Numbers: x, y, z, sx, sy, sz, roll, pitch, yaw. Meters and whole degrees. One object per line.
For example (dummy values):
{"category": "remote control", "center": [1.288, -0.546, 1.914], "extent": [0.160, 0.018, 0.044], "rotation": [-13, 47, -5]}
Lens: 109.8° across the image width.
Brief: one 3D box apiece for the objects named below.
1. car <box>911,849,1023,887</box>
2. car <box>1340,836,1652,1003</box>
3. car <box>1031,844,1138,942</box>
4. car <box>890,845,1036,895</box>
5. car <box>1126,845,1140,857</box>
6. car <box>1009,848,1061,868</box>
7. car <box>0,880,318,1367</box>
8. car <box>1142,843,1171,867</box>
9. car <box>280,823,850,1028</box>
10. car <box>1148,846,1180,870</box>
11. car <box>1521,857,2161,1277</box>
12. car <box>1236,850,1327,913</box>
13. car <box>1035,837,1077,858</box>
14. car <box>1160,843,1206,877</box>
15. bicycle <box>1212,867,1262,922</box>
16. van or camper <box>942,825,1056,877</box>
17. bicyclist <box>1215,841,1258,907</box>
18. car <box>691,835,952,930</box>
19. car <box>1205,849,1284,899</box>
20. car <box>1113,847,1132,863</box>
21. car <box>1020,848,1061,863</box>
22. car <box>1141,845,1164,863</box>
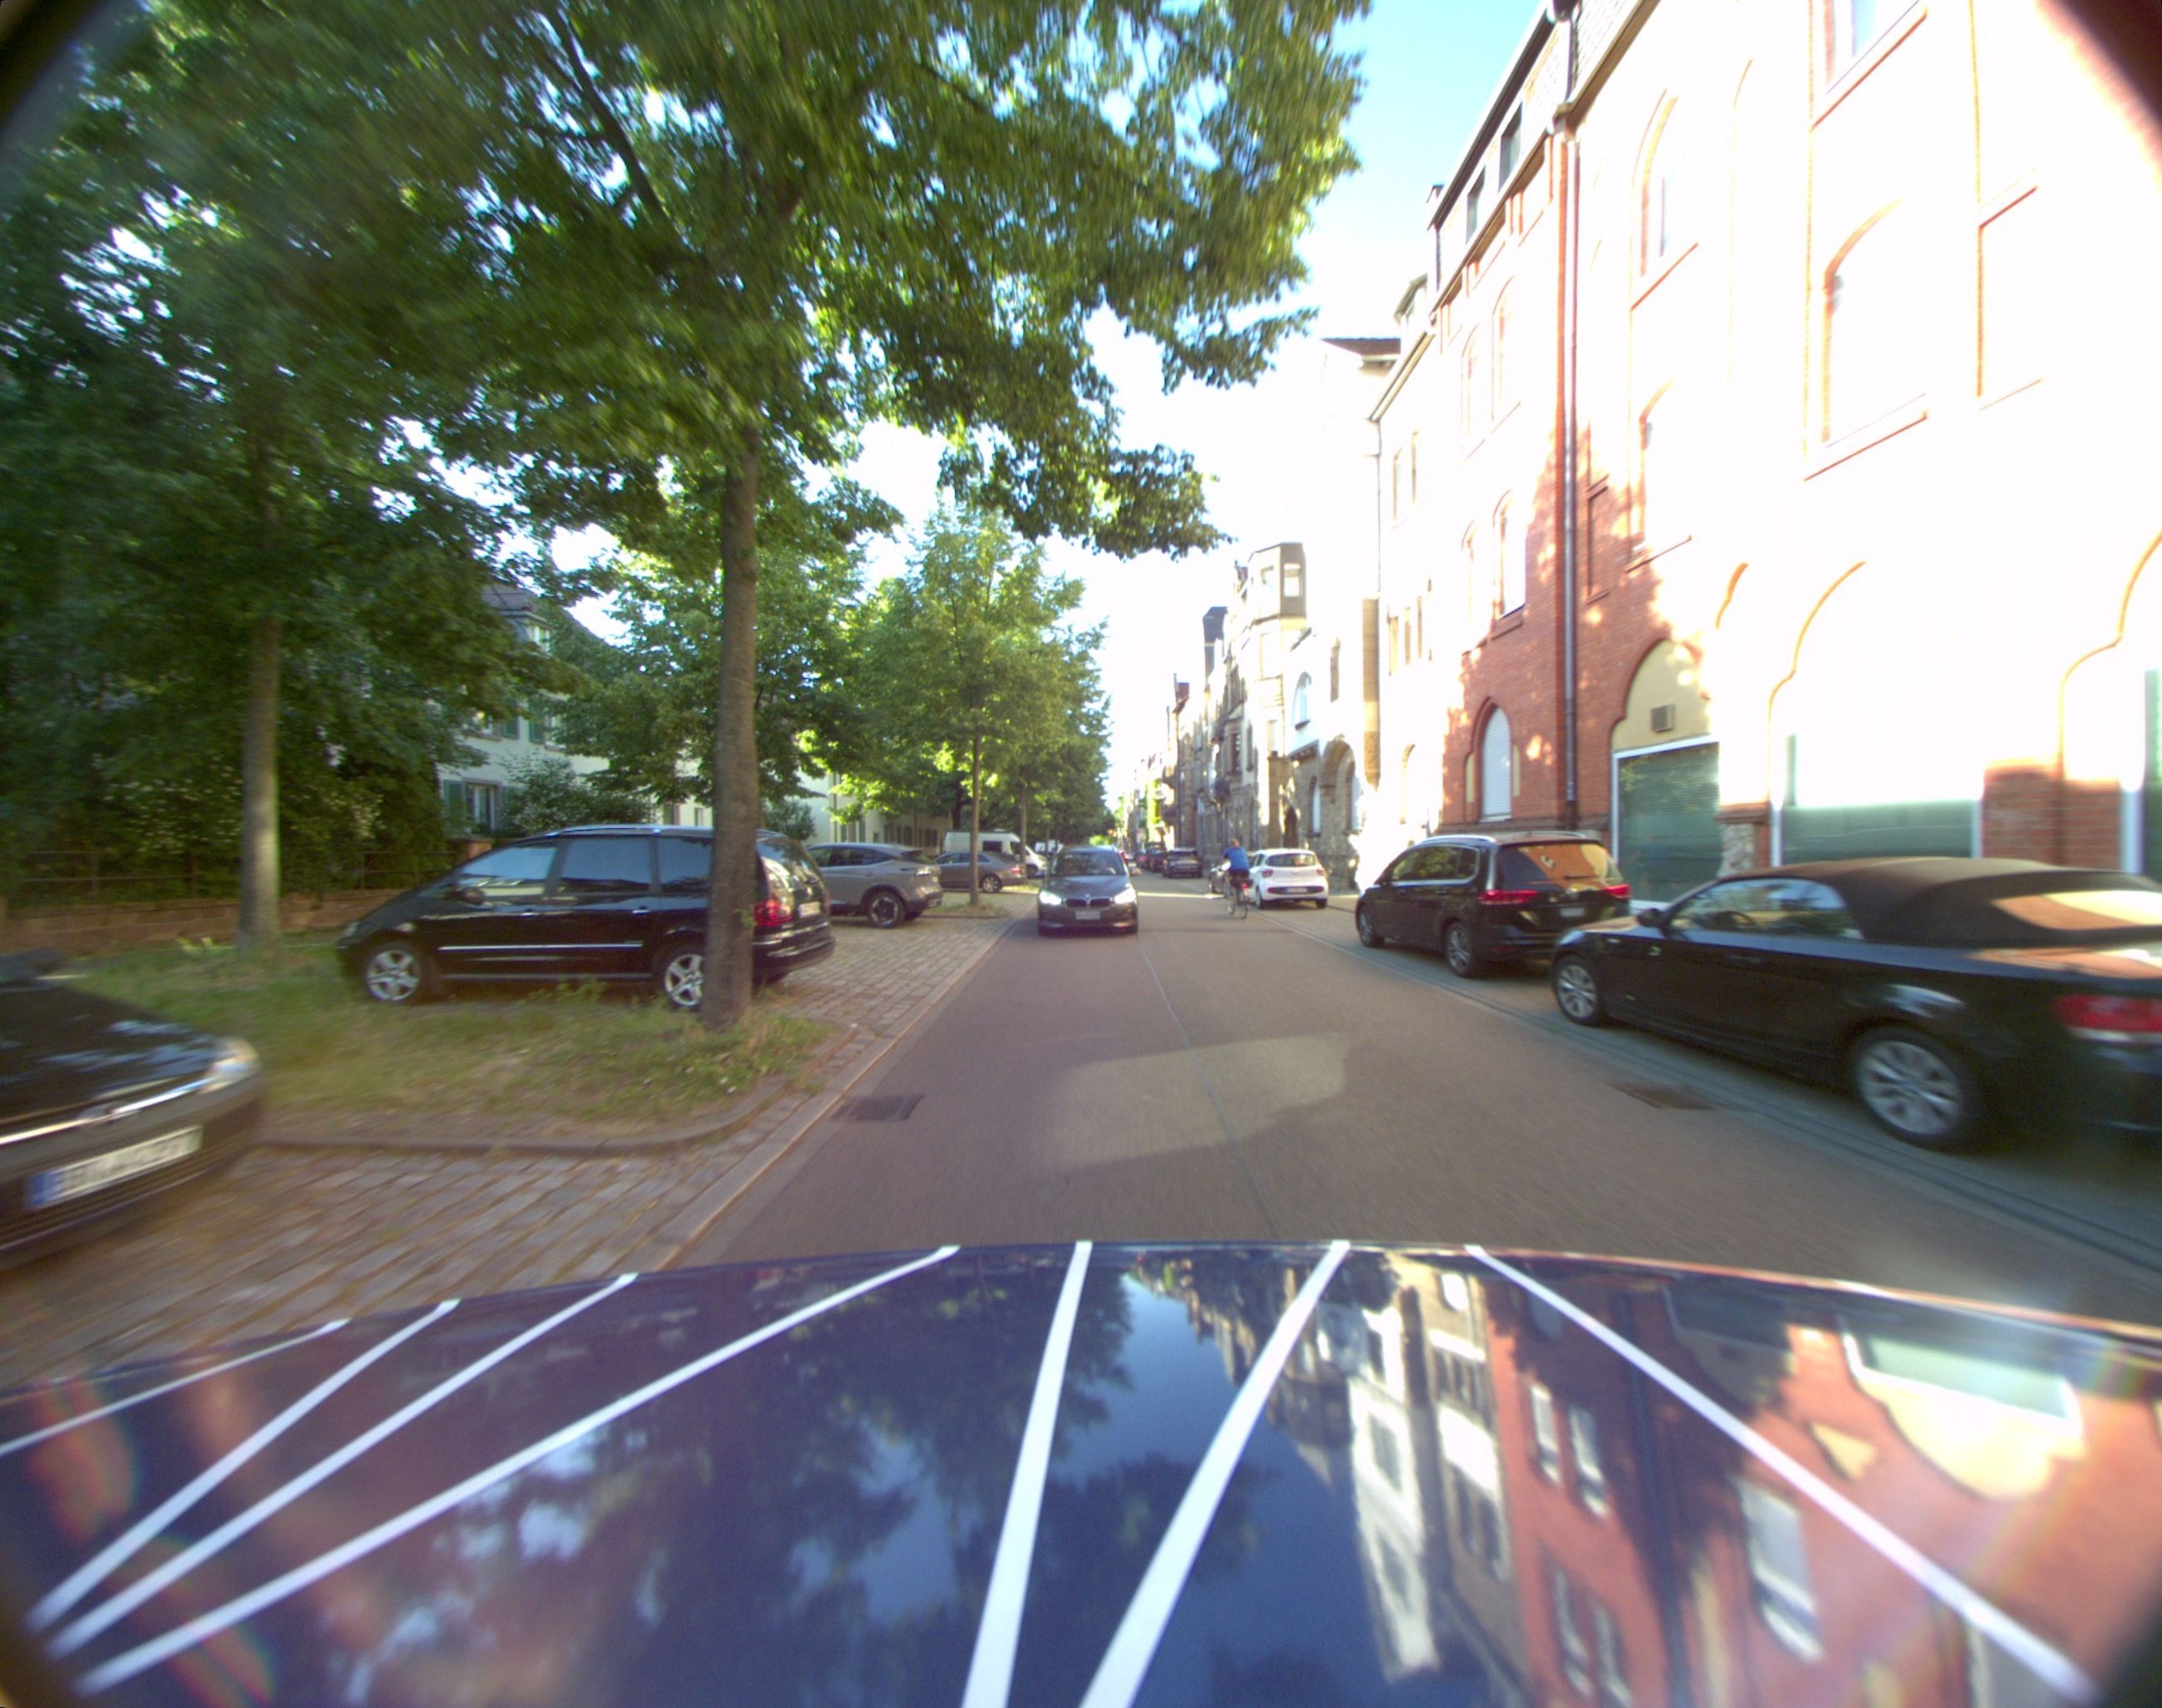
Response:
{"category": "car", "center": [-4.884, 0.570, 32.907], "extent": [4.486, 1.427, 1.828], "rotation": [2, 1, 1]}
{"category": "car", "center": [5.041, 0.639, 10.038], "extent": [1.673, 1.671, 4.349], "rotation": [-2, 1, -1]}
{"category": "car", "center": [0.119, 0.654, 15.065], "extent": [1.753, 1.596, 4.550], "rotation": [-2, 0, 2]}
{"category": "car", "center": [-4.088, 0.533, 26.991], "extent": [4.850, 1.530, 1.894], "rotation": [2, 1, -1]}
{"category": "car", "center": [7.188, -0.392, 105.284], "extent": [1.686, 1.496, 3.629], "rotation": [-5, -1, 2]}
{"category": "car", "center": [-3.583, 0.328, 60.064], "extent": [3.997, 1.543, 1.555], "rotation": [0, 1, 1]}
{"category": "car", "center": [-5.252, 0.830, 2.575], "extent": [3.731, 1.445, 1.589], "rotation": [2, 1, 1]}
{"category": "car", "center": [5.881, 0.046, 59.528], "extent": [1.774, 1.658, 4.211], "rotation": [-2, 1, 1]}
{"category": "car", "center": [-5.005, 0.624, 7.827], "extent": [4.592, 1.667, 1.907], "rotation": [2, 1, 3]}
{"category": "car", "center": [5.749, 0.264, 52.972], "extent": [1.774, 1.493, 4.211], "rotation": [-1, 2, 1]}
{"category": "car", "center": [4.921, 0.815, 4.923], "extent": [1.639, 1.402, 4.332], "rotation": [-4, 1, 1]}
{"category": "car", "center": [5.209, 0.645, 20.126], "extent": [1.570, 1.462, 3.591], "rotation": [-2, 0, 3]}
{"category": "car", "center": [-3.278, -0.857, 101.082], "extent": [5.448, 2.646, 2.134], "rotation": [0, 1, 1]}
{"category": "car", "center": [5.460, 0.299, 41.193], "extent": [1.881, 1.707, 4.339], "rotation": [-2, 1, 1]}
{"category": "bicycle", "center": [3.467, 0.871, 17.047], "extent": [0.759, 1.101, 1.907], "rotation": [0, 2, 1]}
{"category": "van or camper", "center": [-4.310, -0.157, 40.471], "extent": [5.733, 2.502, 2.162], "rotation": [2, 1, 0]}
{"category": "bicyclist", "center": [3.465, 0.428, 16.982], "extent": [0.761, 1.446, 0.948], "rotation": [0, 2, 1]}
{"category": "car", "center": [-4.995, 0.524, 15.094], "extent": [4.487, 1.624, 1.875], "rotation": [2, 1, 0]}
{"category": "car", "center": [5.292, 0.593, 25.092], "extent": [1.681, 1.434, 4.111], "rotation": [-2, 0, 0]}
{"category": "car", "center": [4.010, 0.060, 73.950], "extent": [1.631, 1.469, 3.758], "rotation": [0, 1, -1]}
{"category": "car", "center": [-4.001, 0.152, 75.579], "extent": [3.998, 1.504, 1.572], "rotation": [0, 1, -3]}
{"category": "car", "center": [6.080, 0.014, 65.126], "extent": [1.633, 1.439, 3.856], "rotation": [-5, -1, 2]}
